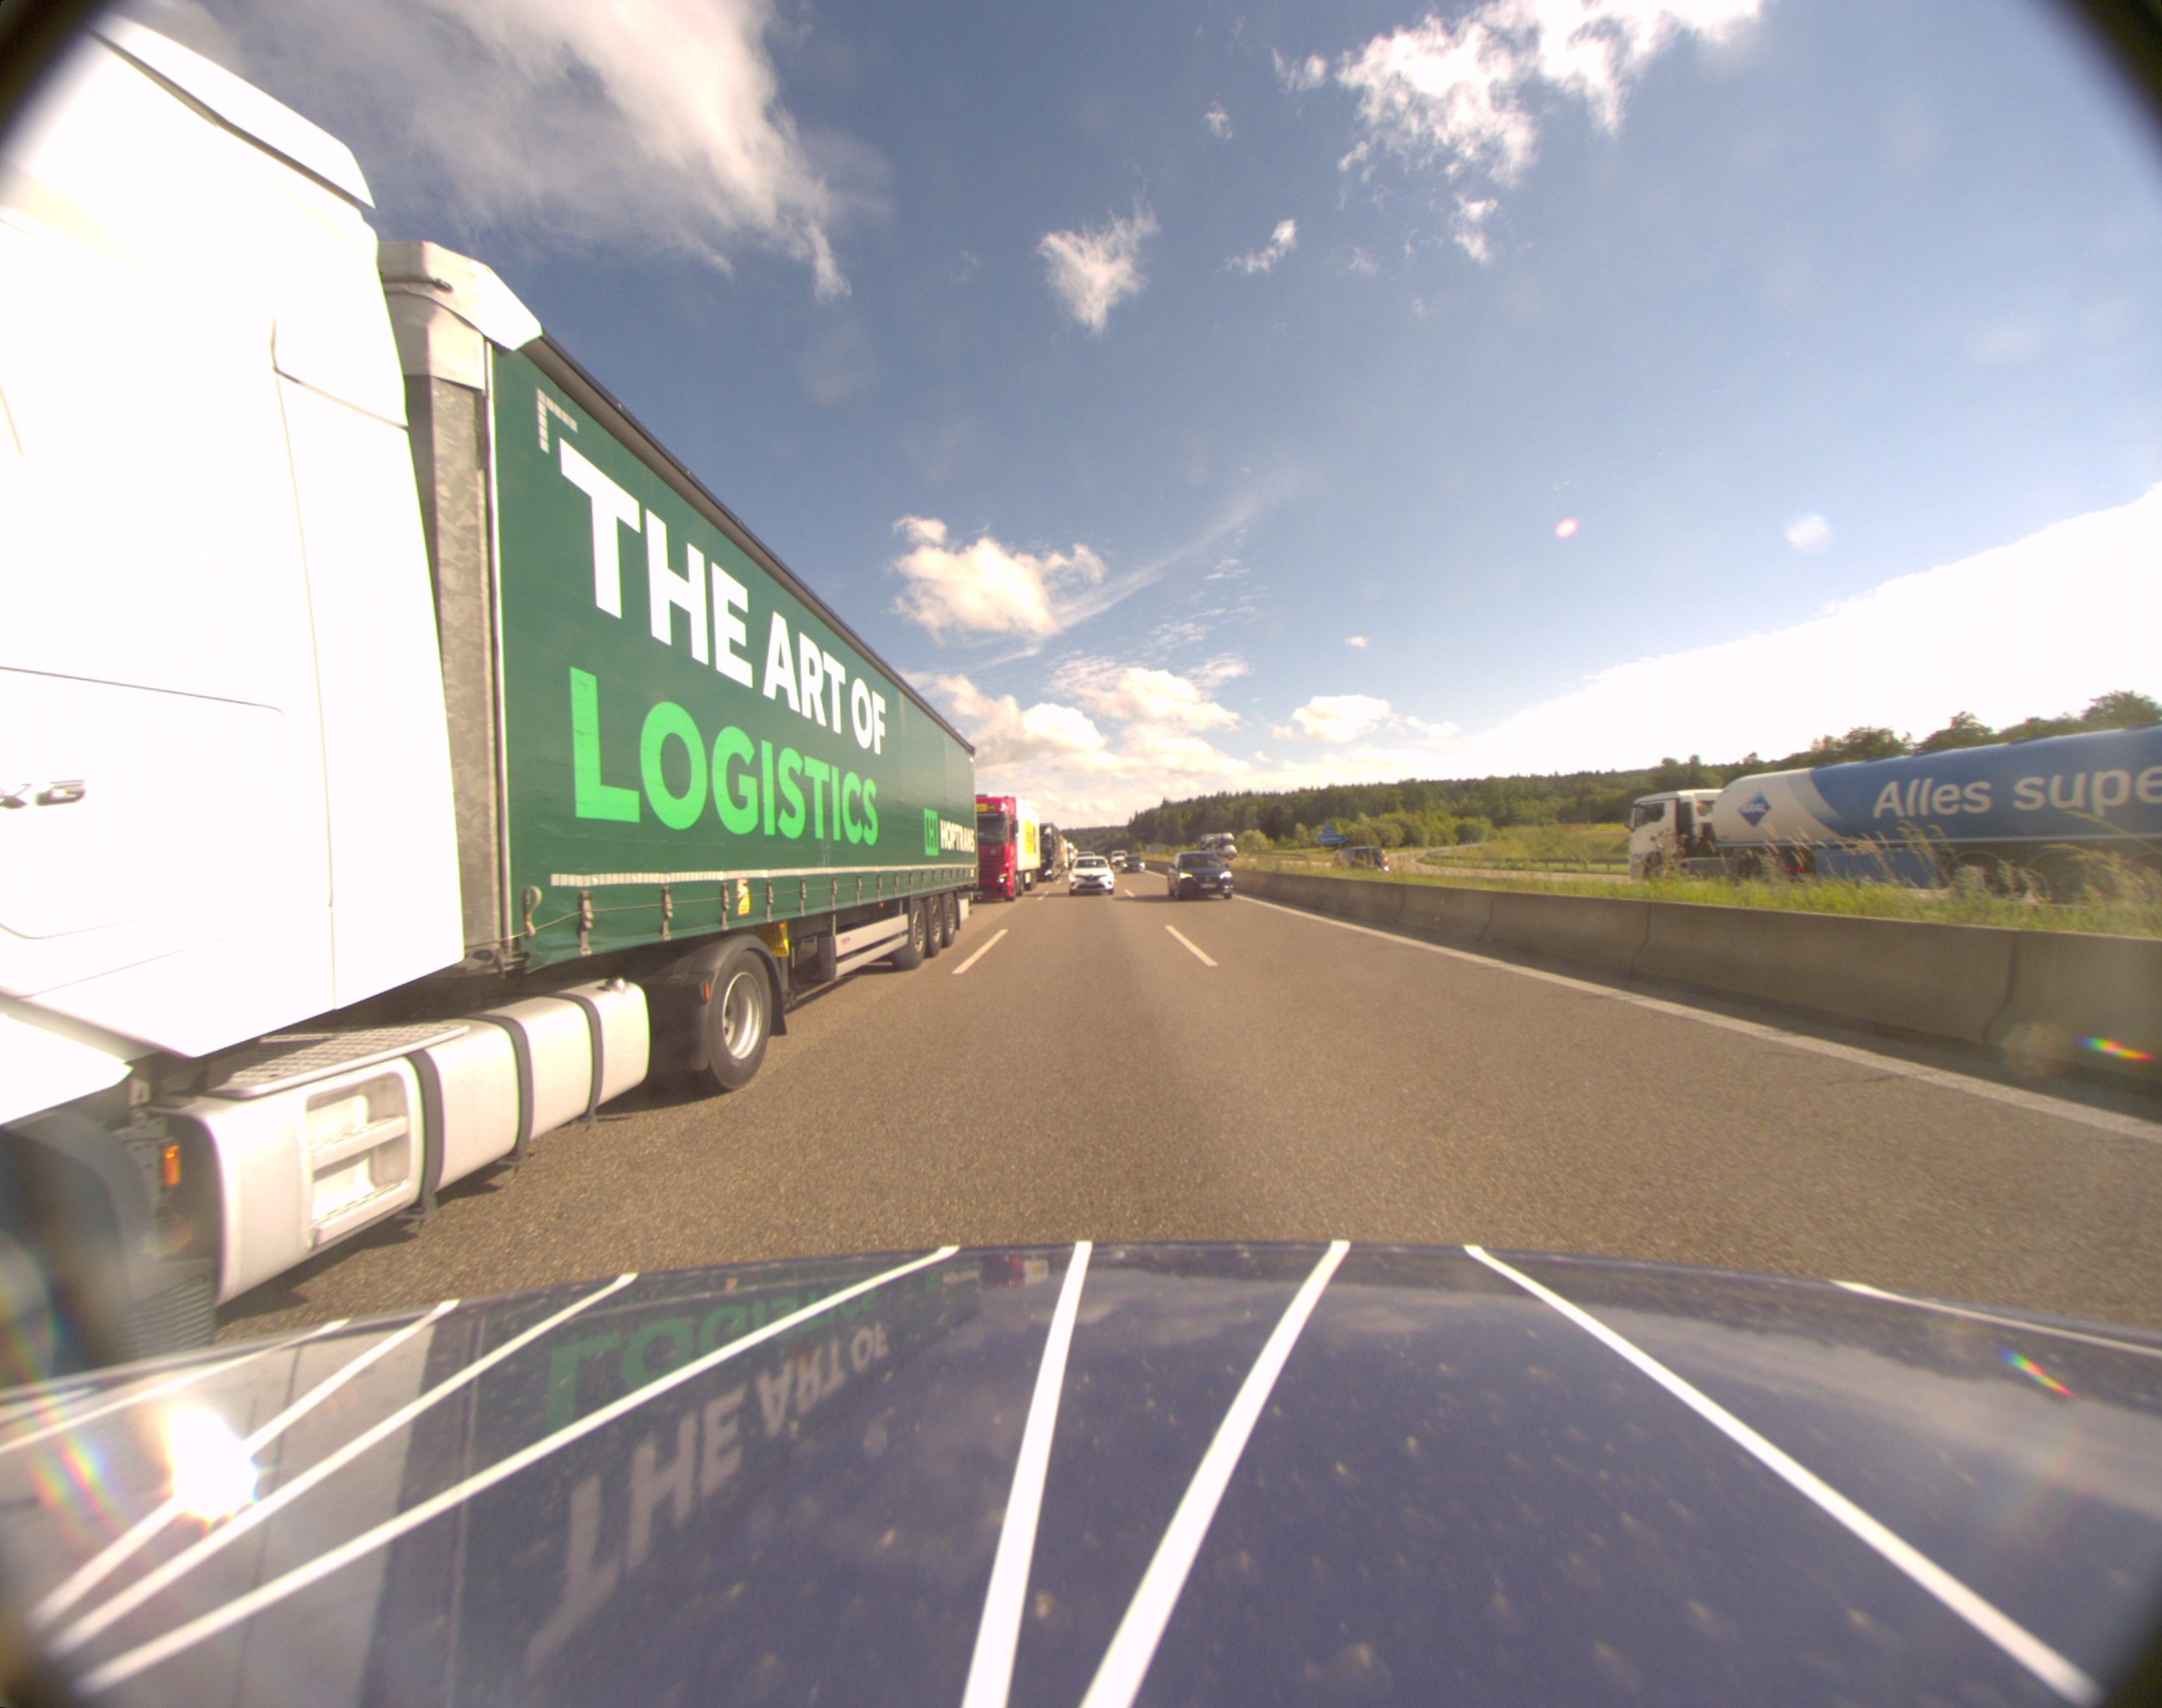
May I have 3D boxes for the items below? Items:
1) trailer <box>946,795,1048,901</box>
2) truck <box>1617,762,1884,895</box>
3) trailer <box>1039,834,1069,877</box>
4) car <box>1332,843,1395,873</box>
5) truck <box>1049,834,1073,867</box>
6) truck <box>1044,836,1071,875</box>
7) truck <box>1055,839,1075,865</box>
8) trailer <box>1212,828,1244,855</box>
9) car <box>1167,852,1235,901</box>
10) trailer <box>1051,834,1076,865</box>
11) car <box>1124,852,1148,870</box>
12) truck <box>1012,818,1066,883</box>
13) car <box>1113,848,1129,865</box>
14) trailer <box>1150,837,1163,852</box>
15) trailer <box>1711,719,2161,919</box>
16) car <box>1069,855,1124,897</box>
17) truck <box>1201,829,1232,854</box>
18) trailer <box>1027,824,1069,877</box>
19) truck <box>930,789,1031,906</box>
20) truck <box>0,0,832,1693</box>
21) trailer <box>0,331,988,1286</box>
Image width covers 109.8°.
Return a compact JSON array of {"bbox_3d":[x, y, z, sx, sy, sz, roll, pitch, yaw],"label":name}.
[{"bbox_3d":[-3.515,-0.292,35.562,2.798,3.916,13.069,-3,1,1],"label":"trailer"},{"bbox_3d":[18.834,-0.661,21.980,2.323,3.255,6.104,-1,1,0],"label":"truck"},{"bbox_3d":[-2.708,0.157,78.499,2.418,4.045,8.926,-5,0,0],"label":"trailer"},{"bbox_3d":[13.920,0.170,37.588,1.694,1.274,3.708,-5,1,1],"label":"car"},{"bbox_3d":[-2.666,-0.475,103.157,2.654,4.066,6.491,-5,1,2],"label":"truck"},{"bbox_3d":[-2.628,0.113,87.830,2.418,4.045,9.664,-5,0,0],"label":"truck"},{"bbox_3d":[-2.684,-0.324,127.289,2.655,3.902,6.943,-5,0,2],"label":"truck"},{"bbox_3d":[20.626,-1.757,107.005,2.806,3.508,8.953,-2,1,1],"label":"trailer"},{"bbox_3d":[4.138,0.736,26.830,1.779,1.533,4.158,-1,1,1],"label":"car"},{"bbox_3d":[-2.482,-0.715,111.013,2.648,4.074,13.980,-5,1,1],"label":"trailer"},{"bbox_3d":[4.697,0.582,65.184,1.779,1.451,4.158,-1,1,1],"label":"car"},{"bbox_3d":[-2.821,-0.276,54.148,2.747,4.015,10.202,-5,1,1],"label":"truck"},{"bbox_3d":[4.666,0.256,89.062,1.779,1.923,4.214,-1,0,1],"label":"car"},{"bbox_3d":[21.384,-2.772,215.370,2.839,3.969,13.549,-3,1,2],"label":"trailer"},{"bbox_3d":[18.861,-0.634,15.882,2.327,3.265,10.874,-2,1,0],"label":"trailer"},{"bbox_3d":[0.676,0.832,31.506,2.026,1.511,5.299,-2,0,2],"label":"car"},{"bbox_3d":[20.700,-1.914,117.061,2.838,3.667,11.131,-2,1,1],"label":"truck"},{"bbox_3d":[-2.656,-0.277,63.547,2.722,3.937,8.711,-5,0,1],"label":"trailer"},{"bbox_3d":[-3.672,-0.246,29.259,2.809,3.916,5.825,-3,1,1],"label":"truck"},{"bbox_3d":[-3.595,-0.163,3.044,2.653,3.846,6.995,-2,1,1],"label":"truck"},{"bbox_3d":[-3.518,-0.215,9.822,2.668,3.846,13.393,-2,1,1],"label":"trailer"}]
